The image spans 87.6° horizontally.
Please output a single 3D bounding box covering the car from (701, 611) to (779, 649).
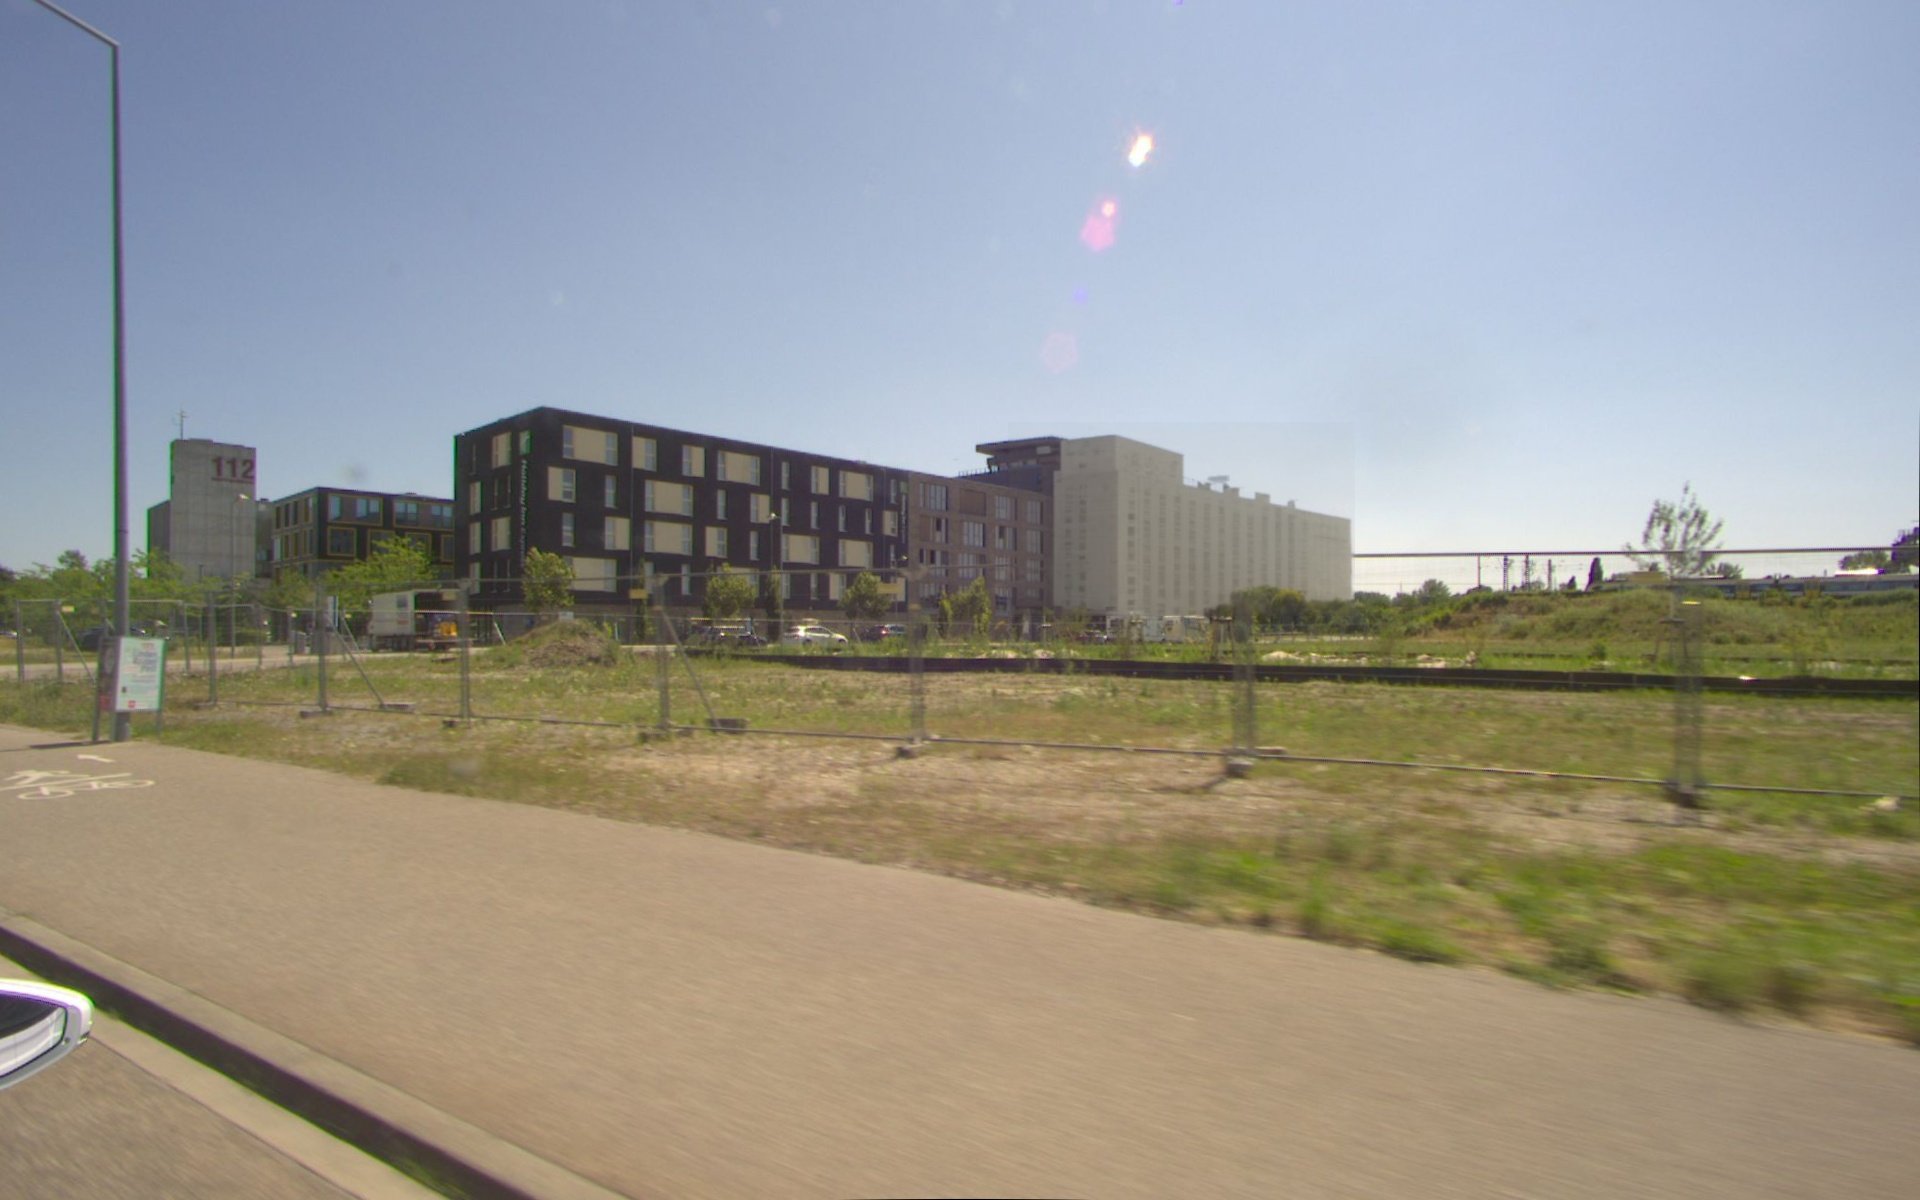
[{"bbox_3d":[-12.272,1.688,55.984,3.879,2.039,1.862,2,-2,-44],"label":"car"}]

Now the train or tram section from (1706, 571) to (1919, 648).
[{"bbox_3d":[122.196,1.655,140.529,9.502,10.050,26.767,2,-3,-41],"label":"train or tram section"}]

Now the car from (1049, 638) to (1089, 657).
[{"bbox_3d":[10.592,4.605,97.408,3.615,1.721,1.606,-1,-2,41],"label":"car"}]

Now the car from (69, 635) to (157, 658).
[{"bbox_3d":[-55.658,3.042,65.870,1.937,1.462,4.101,-1,-3,36],"label":"car"}]

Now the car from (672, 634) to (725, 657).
[{"bbox_3d":[-17.346,2.981,66.390,3.541,1.471,1.682,-1,-2,42],"label":"car"}]

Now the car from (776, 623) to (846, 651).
[{"bbox_3d":[-8.920,2.230,60.153,1.730,1.576,4.011,-1,-3,42],"label":"car"}]

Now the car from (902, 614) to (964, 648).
[{"bbox_3d":[-1.737,2.063,65.437,1.861,2.038,3.885,-3,-5,42],"label":"car"}]

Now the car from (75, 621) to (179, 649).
[{"bbox_3d":[-48.956,2.039,58.930,2.008,1.582,4.473,-1,-2,41],"label":"car"}]

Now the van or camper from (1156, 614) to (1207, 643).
[{"bbox_3d":[20.735,2.670,93.675,2.376,2.567,5.394,-1,-2,41],"label":"van or camper"}]

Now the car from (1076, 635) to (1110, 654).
[{"bbox_3d":[12.979,4.328,97.813,1.774,1.741,3.396,-3,-5,41],"label":"car"}]

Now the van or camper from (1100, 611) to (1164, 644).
[{"bbox_3d":[15.053,2.391,87.252,2.538,2.811,6.372,-1,-2,42],"label":"van or camper"}]

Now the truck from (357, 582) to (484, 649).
[{"bbox_3d":[-31.311,0.994,57.754,12.015,3.506,2.991,-2,-1,44],"label":"truck"}]
